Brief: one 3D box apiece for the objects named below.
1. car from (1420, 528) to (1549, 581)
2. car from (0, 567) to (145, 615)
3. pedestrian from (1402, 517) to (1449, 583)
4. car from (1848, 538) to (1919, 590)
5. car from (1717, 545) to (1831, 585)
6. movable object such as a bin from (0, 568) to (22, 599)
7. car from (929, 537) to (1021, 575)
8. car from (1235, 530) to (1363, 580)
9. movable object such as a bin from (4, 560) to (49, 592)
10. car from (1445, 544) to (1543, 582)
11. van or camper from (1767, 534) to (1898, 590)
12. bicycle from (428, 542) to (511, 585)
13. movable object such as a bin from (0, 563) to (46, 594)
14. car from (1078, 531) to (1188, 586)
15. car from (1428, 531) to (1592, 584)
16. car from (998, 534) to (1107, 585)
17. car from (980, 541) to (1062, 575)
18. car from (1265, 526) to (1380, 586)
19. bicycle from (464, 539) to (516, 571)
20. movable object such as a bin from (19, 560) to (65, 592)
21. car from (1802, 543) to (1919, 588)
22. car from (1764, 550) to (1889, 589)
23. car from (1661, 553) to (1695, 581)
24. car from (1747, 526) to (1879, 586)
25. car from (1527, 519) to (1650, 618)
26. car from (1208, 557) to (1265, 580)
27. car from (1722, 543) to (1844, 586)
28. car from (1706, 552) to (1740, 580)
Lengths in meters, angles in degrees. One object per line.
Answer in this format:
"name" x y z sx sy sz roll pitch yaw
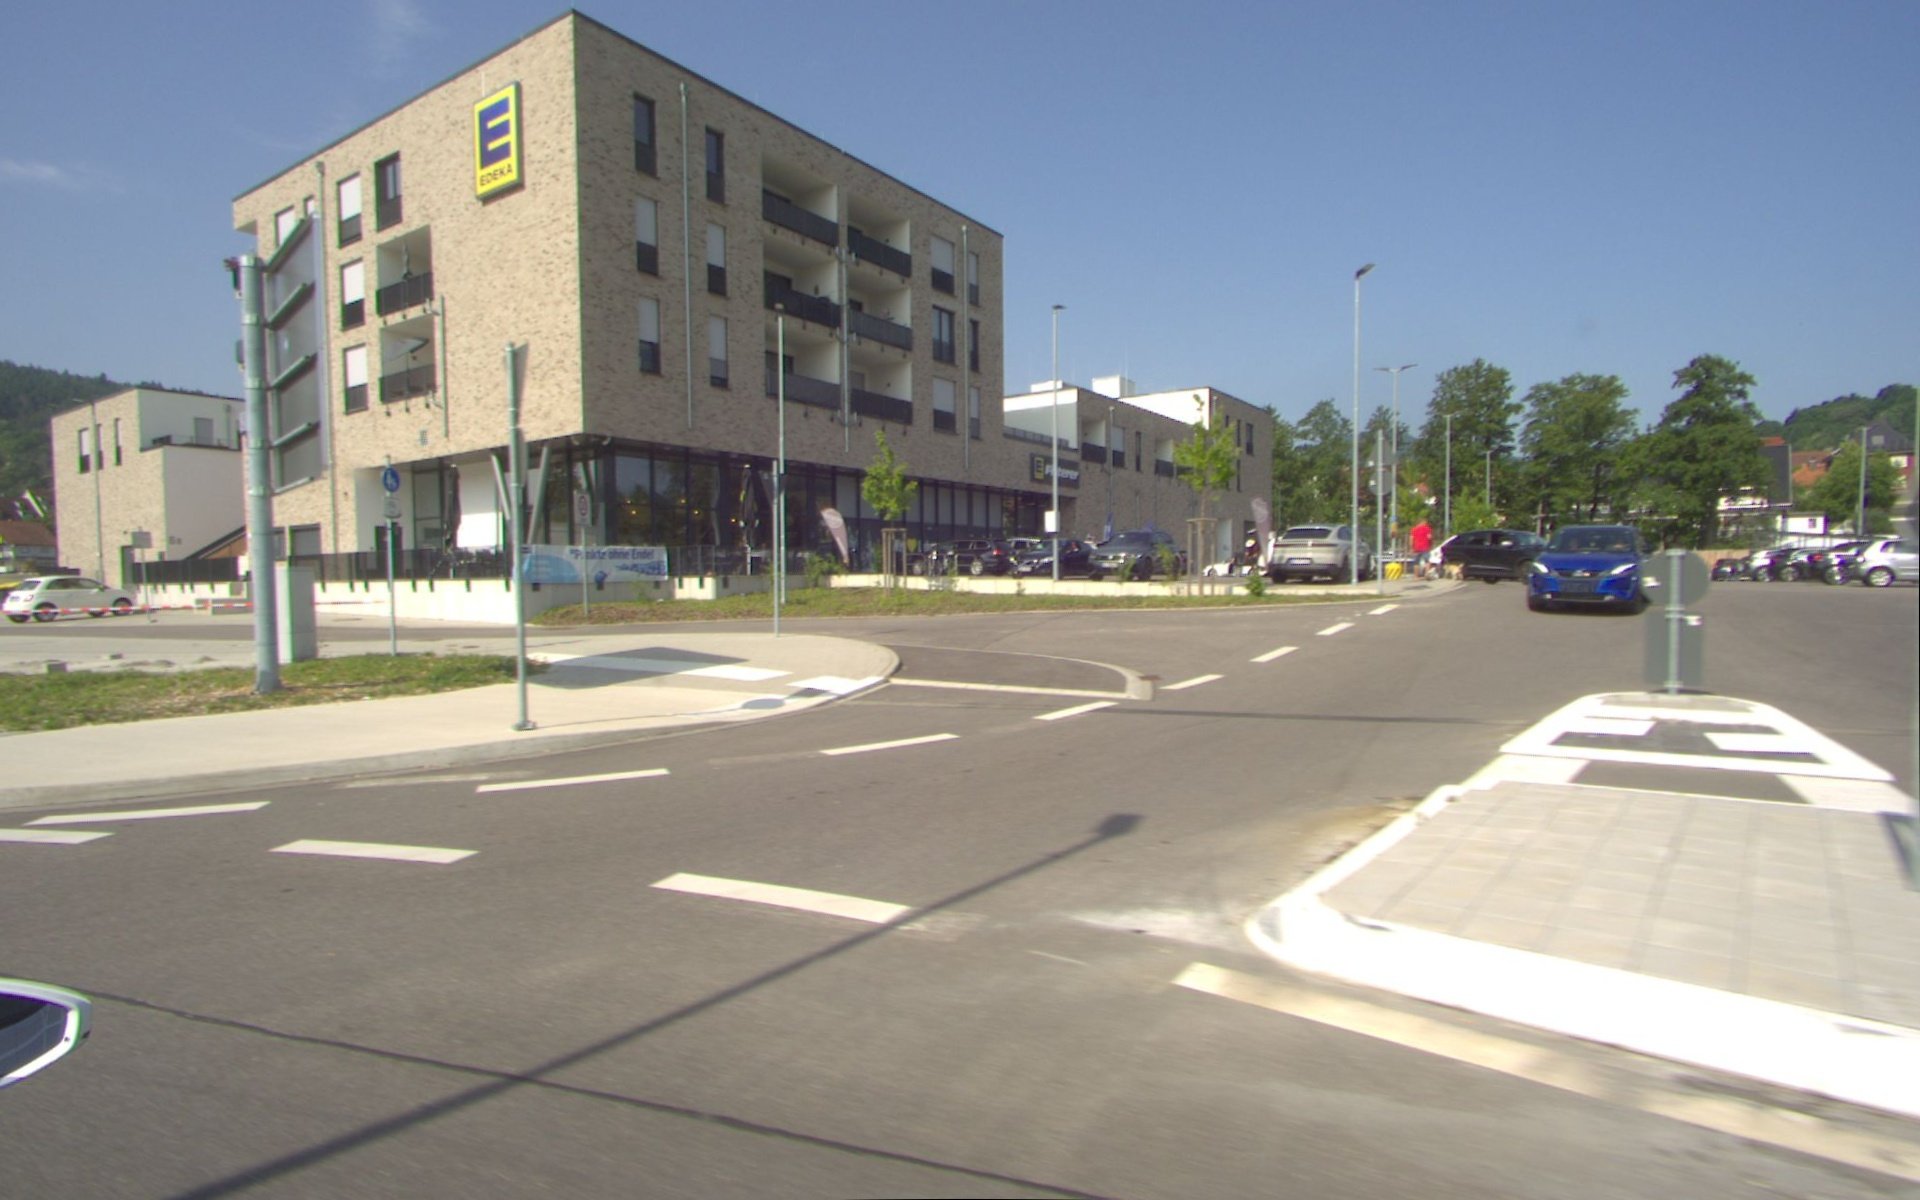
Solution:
"car" 21.581 -1.847 41.413 4.572 2.040 1.993 1 0 26
"car" -30.959 -0.359 35.034 1.567 1.515 3.406 -1 2 20
"pedestrian" 12.838 -1.365 27.648 0.864 1.764 0.757 1 0 -9
"car" 28.507 -1.053 29.354 3.586 1.464 1.515 1 0 38
"car" 43.553 -1.842 53.725 4.586 2.002 1.987 1 0 37
"movable object such as a bin" -48.443 -0.841 50.313 1.300 1.483 1.578 1 0 31
"car" 0.571 -1.688 39.008 3.281 1.368 1.484 1 0 30
"car" 13.684 -1.755 40.487 4.516 1.906 1.987 1 2 35
"movable object such as a bin" -45.521 -1.164 48.828 1.300 1.483 1.297 1 0 31
"car" 20.760 -1.414 38.996 3.281 1.368 1.621 0 0 28
"van or camper" 48.135 -2.031 55.415 5.216 2.885 2.280 1 0 37
"bicycle" -14.759 -1.082 30.216 0.842 1.159 2.239 1 0 22
"movable object such as a bin" -46.725 -1.061 49.692 1.300 1.483 1.691 1 0 31
"car" 5.562 -1.389 31.771 1.831 1.578 4.431 4 5 33
"car" 16.072 -1.249 29.505 1.615 1.412 4.215 -3 3 -20
"car" 3.195 -1.436 33.891 1.831 1.578 4.431 4 5 33
"car" 2.646 -1.793 43.567 3.289 1.368 1.481 1 0 37
"car" 10.516 -1.336 28.829 1.832 1.578 4.787 4 6 36
"bicycle" -16.908 -1.599 35.993 2.214 1.058 0.690 1 0 35
"movable object such as a bin" -44.184 -1.139 48.186 1.300 1.483 1.297 1 0 31
"car" 29.529 -1.114 32.303 3.313 1.392 1.519 1 1 29
"car" 35.399 -1.238 41.034 3.574 1.464 1.520 1 0 28
"car" 49.318 -2.247 68.761 1.714 1.684 3.972 1 0 38
"car" 40.294 -2.020 47.471 4.586 2.652 1.987 1 0 37
"car" 12.437 -0.709 20.042 1.858 1.687 4.328 1 5 30
"car" 17.977 -2.049 65.158 3.279 1.368 1.622 1 0 27
"car" 41.418 -1.741 50.544 4.586 2.002 1.987 1 0 37
"car" 51.026 -2.228 66.936 1.714 1.684 3.972 1 0 38
